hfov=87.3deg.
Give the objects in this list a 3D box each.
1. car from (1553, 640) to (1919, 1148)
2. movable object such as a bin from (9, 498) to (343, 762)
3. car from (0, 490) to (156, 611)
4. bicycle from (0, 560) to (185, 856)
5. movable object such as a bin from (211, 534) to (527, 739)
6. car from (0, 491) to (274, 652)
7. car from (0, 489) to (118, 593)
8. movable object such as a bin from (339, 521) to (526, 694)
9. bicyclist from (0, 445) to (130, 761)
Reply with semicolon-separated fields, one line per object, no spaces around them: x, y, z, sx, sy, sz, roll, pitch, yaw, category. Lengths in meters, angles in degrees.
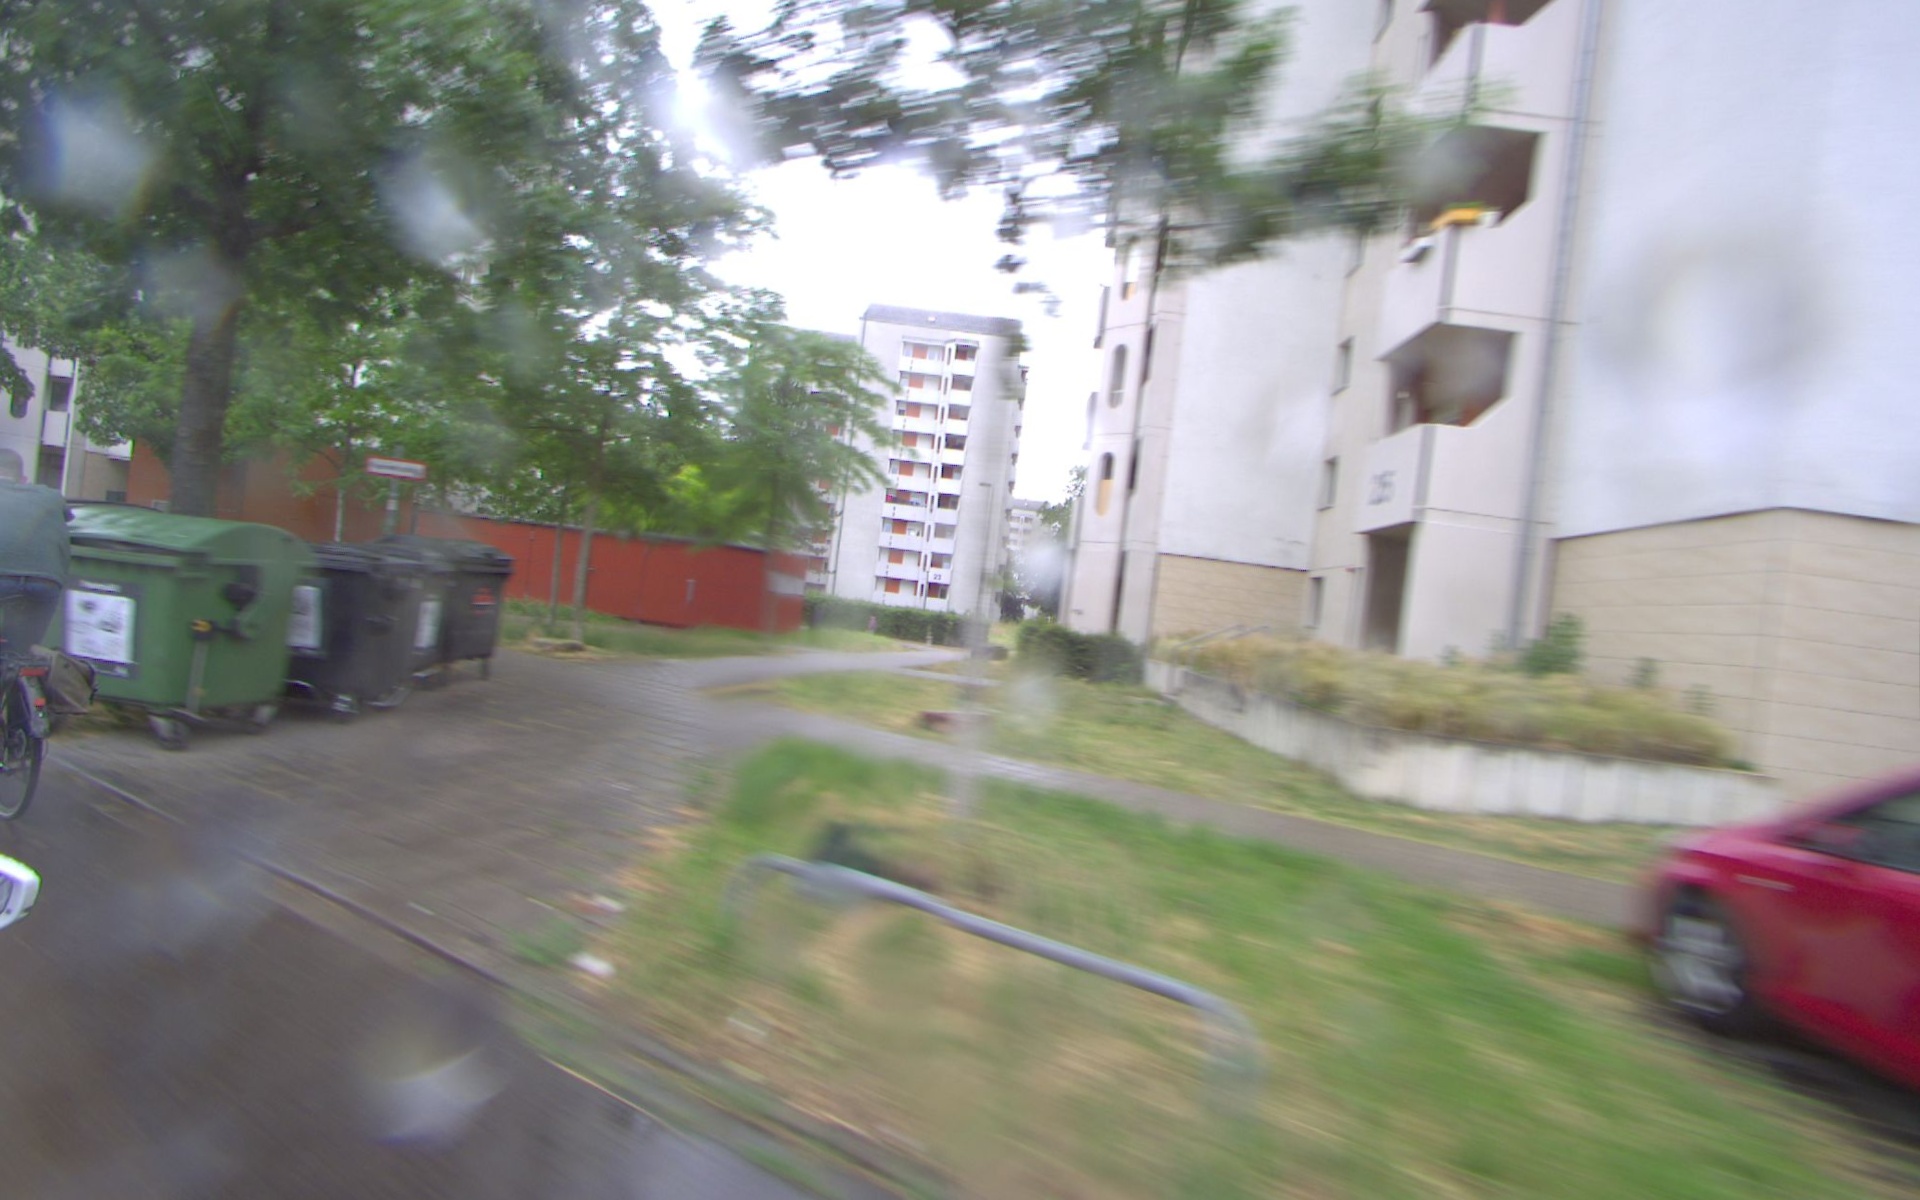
4.175;1.163;3.351;1.702;1.588;3.880;6;2;-5;car
-5.208;0.144;6.763;1.374;1.479;1.127;7;6;10;movable object such as a bin
-12.947;-0.713;13.201;1.556;1.538;4.039;7;0;-3;car
-4.910;0.390;4.905;2.474;1.110;0.811;7;1;29;bicycle
-4.711;0.252;8.199;1.374;1.344;1.686;7;2;10;movable object such as a bin
-10.183;-0.372;11.460;1.843;1.538;4.225;7;0;-3;car
-15.279;-0.991;15.282;1.556;1.538;4.039;7;0;-3;car
-5.311;0.070;10.232;1.068;1.540;1.247;6;1;4;movable object such as a bin
-4.831;-0.027;4.888;1.042;1.451;0.811;7;1;28;bicyclist
